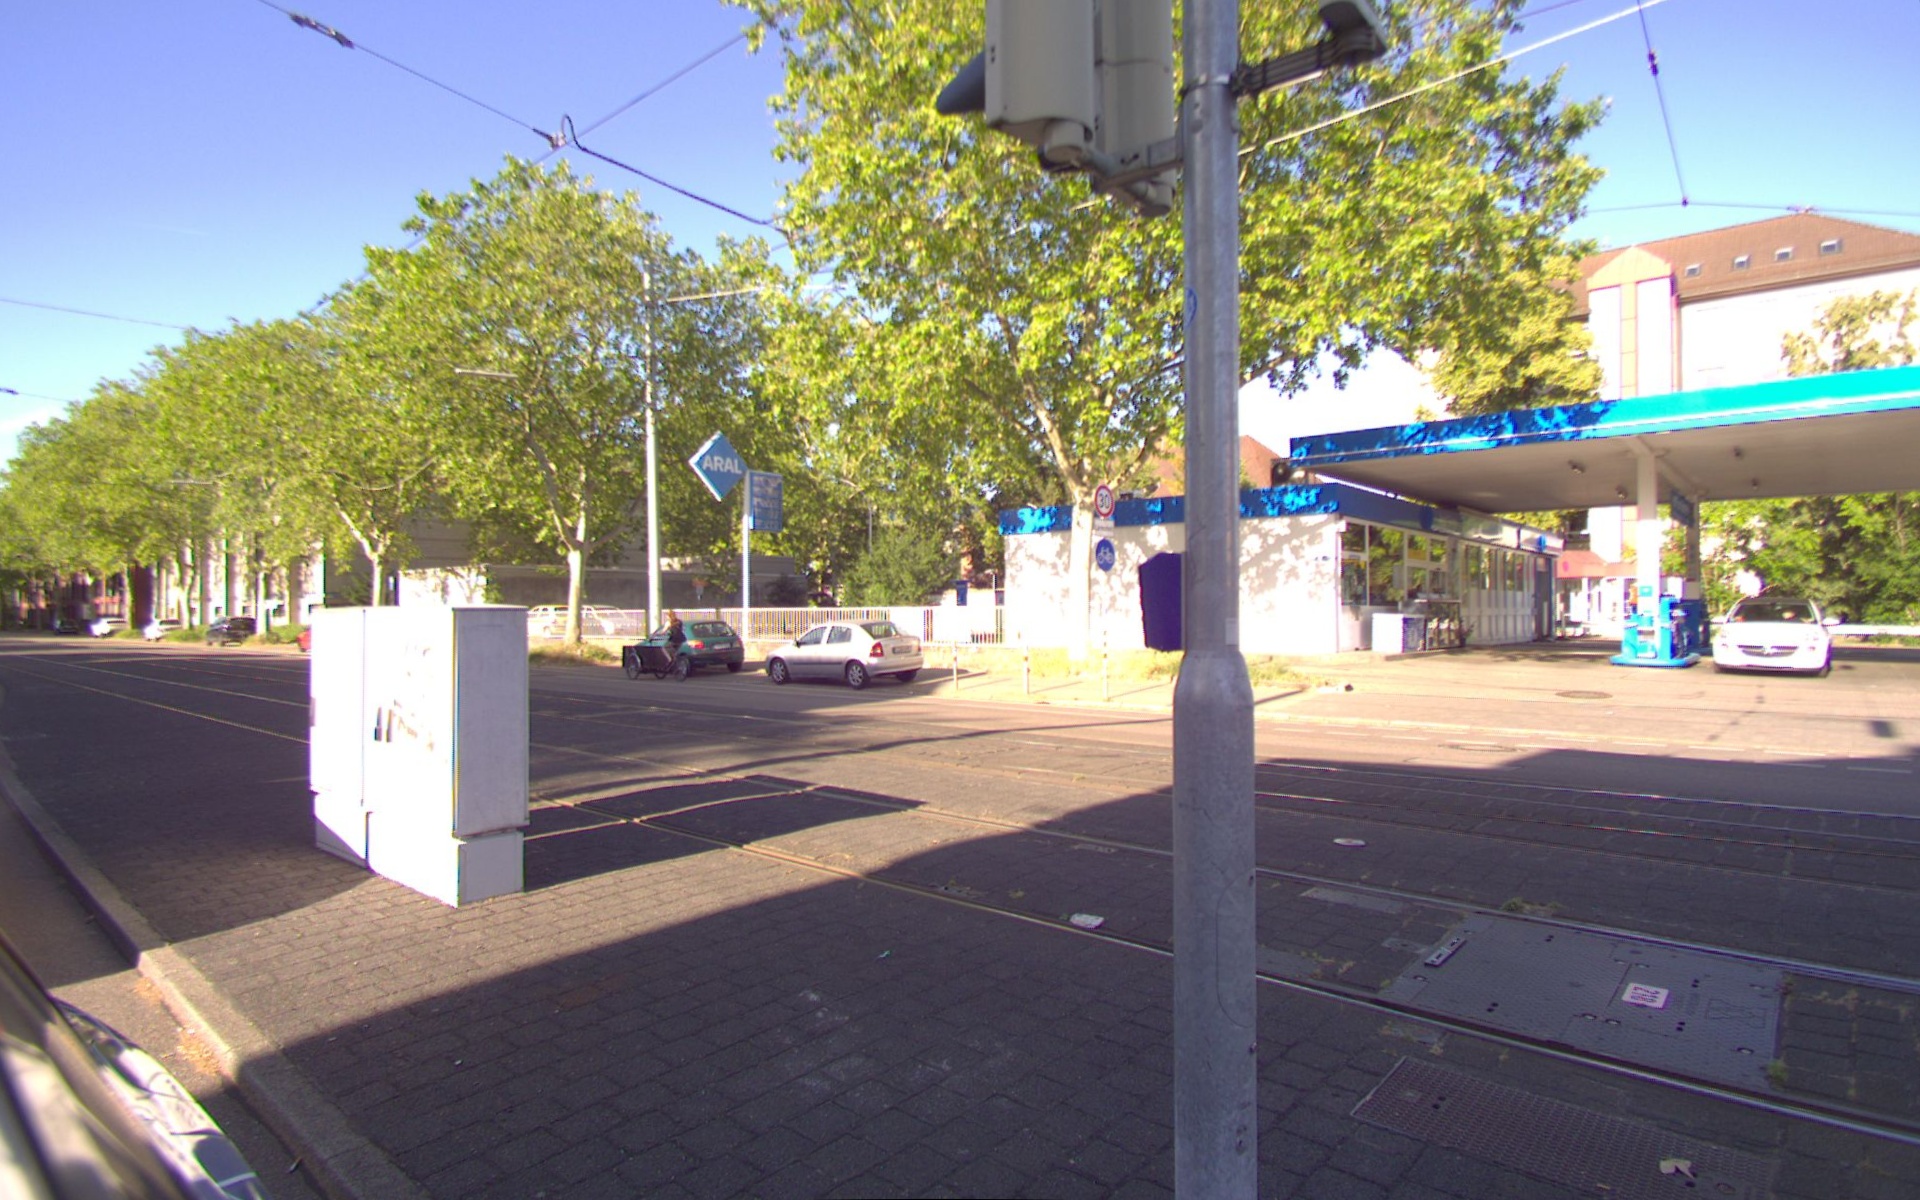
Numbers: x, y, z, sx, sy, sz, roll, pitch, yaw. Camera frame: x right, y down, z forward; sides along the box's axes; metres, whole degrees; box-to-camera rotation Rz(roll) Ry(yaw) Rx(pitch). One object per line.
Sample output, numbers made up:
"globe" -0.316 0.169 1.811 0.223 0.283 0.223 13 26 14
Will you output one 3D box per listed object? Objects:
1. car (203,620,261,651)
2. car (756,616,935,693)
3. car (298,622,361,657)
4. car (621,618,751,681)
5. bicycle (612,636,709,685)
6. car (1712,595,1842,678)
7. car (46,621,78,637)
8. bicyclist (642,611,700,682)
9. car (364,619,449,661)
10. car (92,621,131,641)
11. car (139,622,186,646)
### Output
"car" -40.747 1.953 56.593 3.998 1.674 1.779 -1 -1 41
"car" -2.625 1.159 22.663 3.965 1.475 1.771 -1 2 43
"car" -28.549 1.751 45.801 3.045 1.519 1.620 -1 -1 41
"car" -7.323 1.277 26.932 3.519 1.475 1.670 -1 2 43
"bicycle" -7.196 1.420 24.224 2.518 1.110 1.045 -1 -3 41
"car" 16.032 0.676 19.907 1.812 1.453 3.947 -1 -1 39
"car" -85.314 2.730 96.123 3.998 1.525 1.779 -1 -1 41
"bicyclist" -6.842 1.082 23.954 1.027 1.650 0.922 -2 -1 41
"car" -21.935 1.551 40.053 3.652 1.541 1.802 -1 -1 41
"car" -66.675 2.401 79.534 3.998 1.525 1.779 -1 -1 41
"car" -53.712 2.265 68.167 3.998 1.509 1.779 -1 -1 41
